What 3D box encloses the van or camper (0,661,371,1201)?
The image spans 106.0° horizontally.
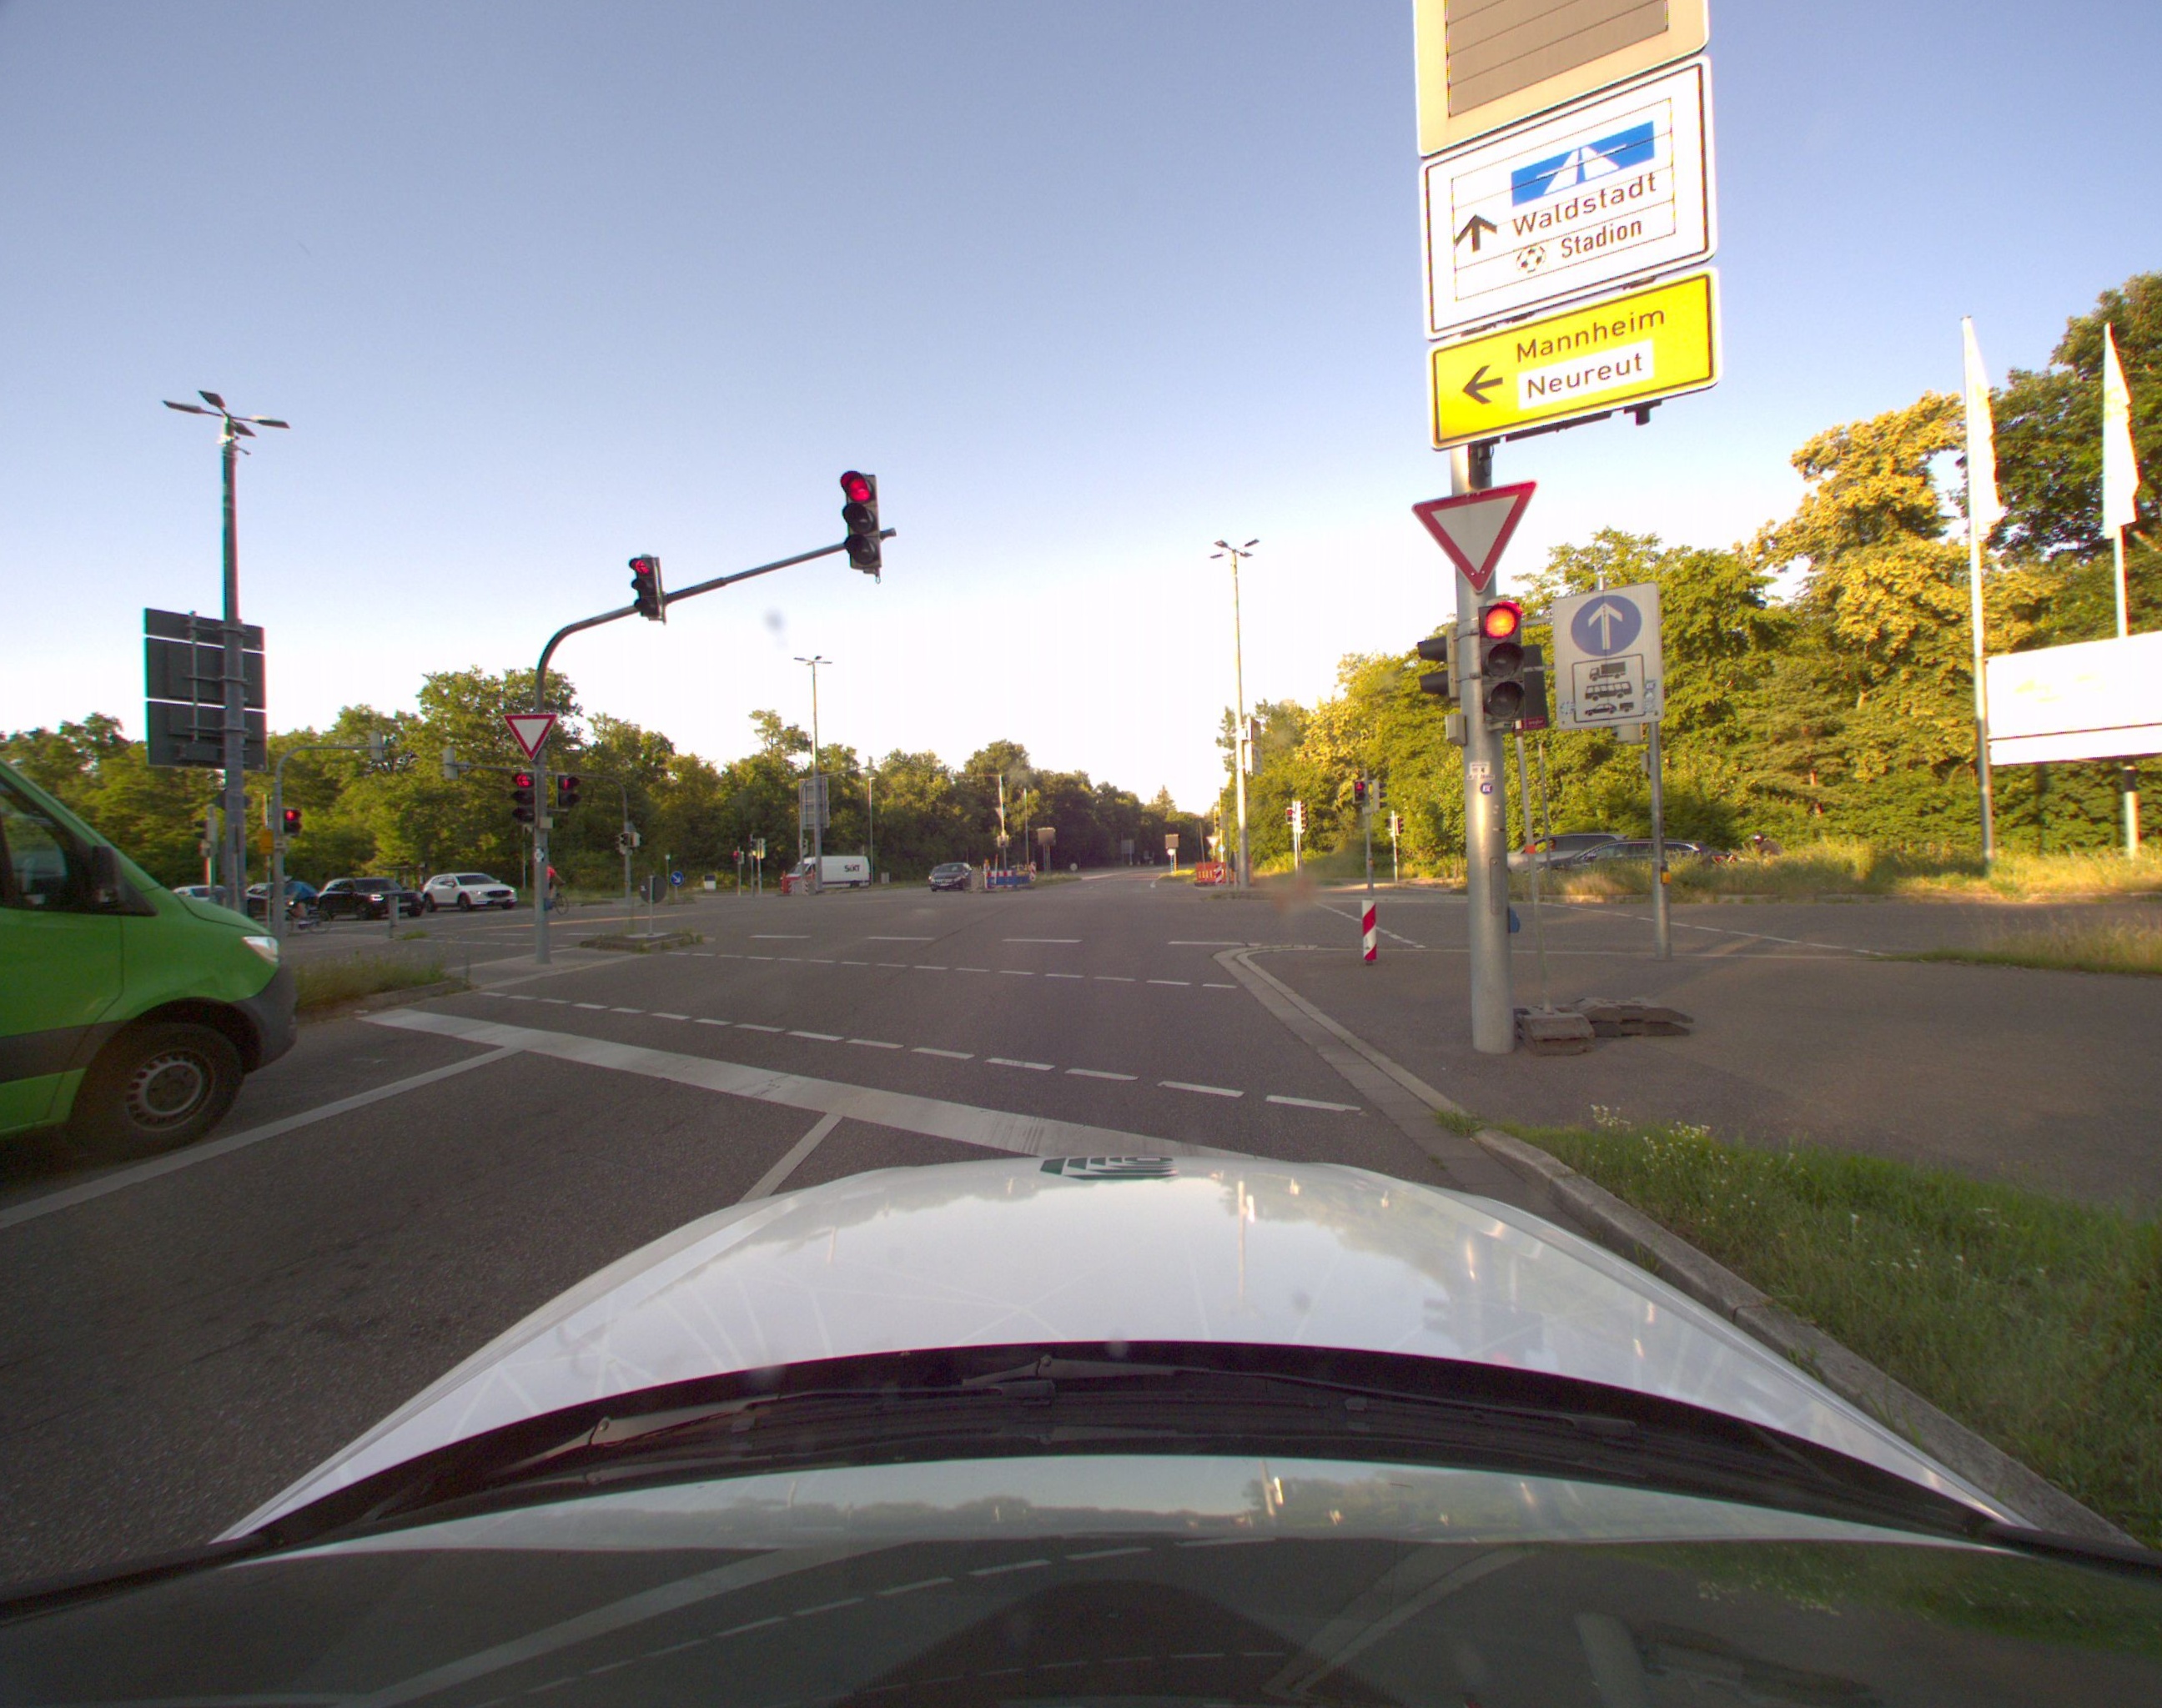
[{"bbox_3d":[-5.861,0.363,2.560,1.987,2.421,5.896,-2,0,1],"label":"van or camper"}]

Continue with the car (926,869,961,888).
[{"bbox_3d":[-12.573,2.215,74.835,1.982,1.640,4.009,-2,0,8],"label":"car"}]

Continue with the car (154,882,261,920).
[{"bbox_3d":[-41.257,2.214,38.476,4.207,1.640,2.011,-2,0,21],"label":"car"}]

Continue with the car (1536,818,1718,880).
[{"bbox_3d":[14.683,-0.115,22.159,3.827,1.489,1.781,-2,0,24],"label":"car"}]

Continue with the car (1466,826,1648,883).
[{"bbox_3d":[15.029,0.027,26.076,4.773,1.598,2.011,-2,0,23],"label":"car"}]

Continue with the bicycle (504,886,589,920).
[{"bbox_3d":[-18.663,1.688,28.522,0.761,1.031,2.658,-2,0,13],"label":"bicycle"}]

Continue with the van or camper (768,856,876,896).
[{"bbox_3d":[-18.725,1.546,59.404,2.857,2.652,7.168,-2,0,35],"label":"van or camper"}]

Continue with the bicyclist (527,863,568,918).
[{"bbox_3d":[-18.671,1.259,28.526,0.670,1.879,0.983,-2,-1,12],"label":"bicyclist"}]

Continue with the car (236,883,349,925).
[{"bbox_3d":[-33.926,2.157,35.034,4.205,1.640,2.011,-2,0,23],"label":"car"}]

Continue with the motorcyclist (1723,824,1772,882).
[{"bbox_3d":[18.805,-0.035,23.002,0.878,1.595,0.658,-2,-1,23],"label":"motorcyclist"}]

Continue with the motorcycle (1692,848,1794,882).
[{"bbox_3d":[18.693,0.313,23.059,2.125,0.910,0.666,-2,-1,23],"label":"motorcycle"}]

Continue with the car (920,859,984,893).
[{"bbox_3d":[-7.080,1.172,45.125,1.979,1.640,4.016,-3,0,14],"label":"car"}]

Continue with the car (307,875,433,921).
[{"bbox_3d":[-27.554,1.701,31.559,4.206,1.640,2.011,-2,0,23],"label":"car"}]

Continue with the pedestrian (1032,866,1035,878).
[{"bbox_3d":[-7.546,2.853,129.190,0.519,2.014,0.600,0,-1,2],"label":"pedestrian"}]

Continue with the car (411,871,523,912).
[{"bbox_3d":[-26.760,1.645,35.499,4.206,1.640,2.011,-2,0,23],"label":"car"}]
